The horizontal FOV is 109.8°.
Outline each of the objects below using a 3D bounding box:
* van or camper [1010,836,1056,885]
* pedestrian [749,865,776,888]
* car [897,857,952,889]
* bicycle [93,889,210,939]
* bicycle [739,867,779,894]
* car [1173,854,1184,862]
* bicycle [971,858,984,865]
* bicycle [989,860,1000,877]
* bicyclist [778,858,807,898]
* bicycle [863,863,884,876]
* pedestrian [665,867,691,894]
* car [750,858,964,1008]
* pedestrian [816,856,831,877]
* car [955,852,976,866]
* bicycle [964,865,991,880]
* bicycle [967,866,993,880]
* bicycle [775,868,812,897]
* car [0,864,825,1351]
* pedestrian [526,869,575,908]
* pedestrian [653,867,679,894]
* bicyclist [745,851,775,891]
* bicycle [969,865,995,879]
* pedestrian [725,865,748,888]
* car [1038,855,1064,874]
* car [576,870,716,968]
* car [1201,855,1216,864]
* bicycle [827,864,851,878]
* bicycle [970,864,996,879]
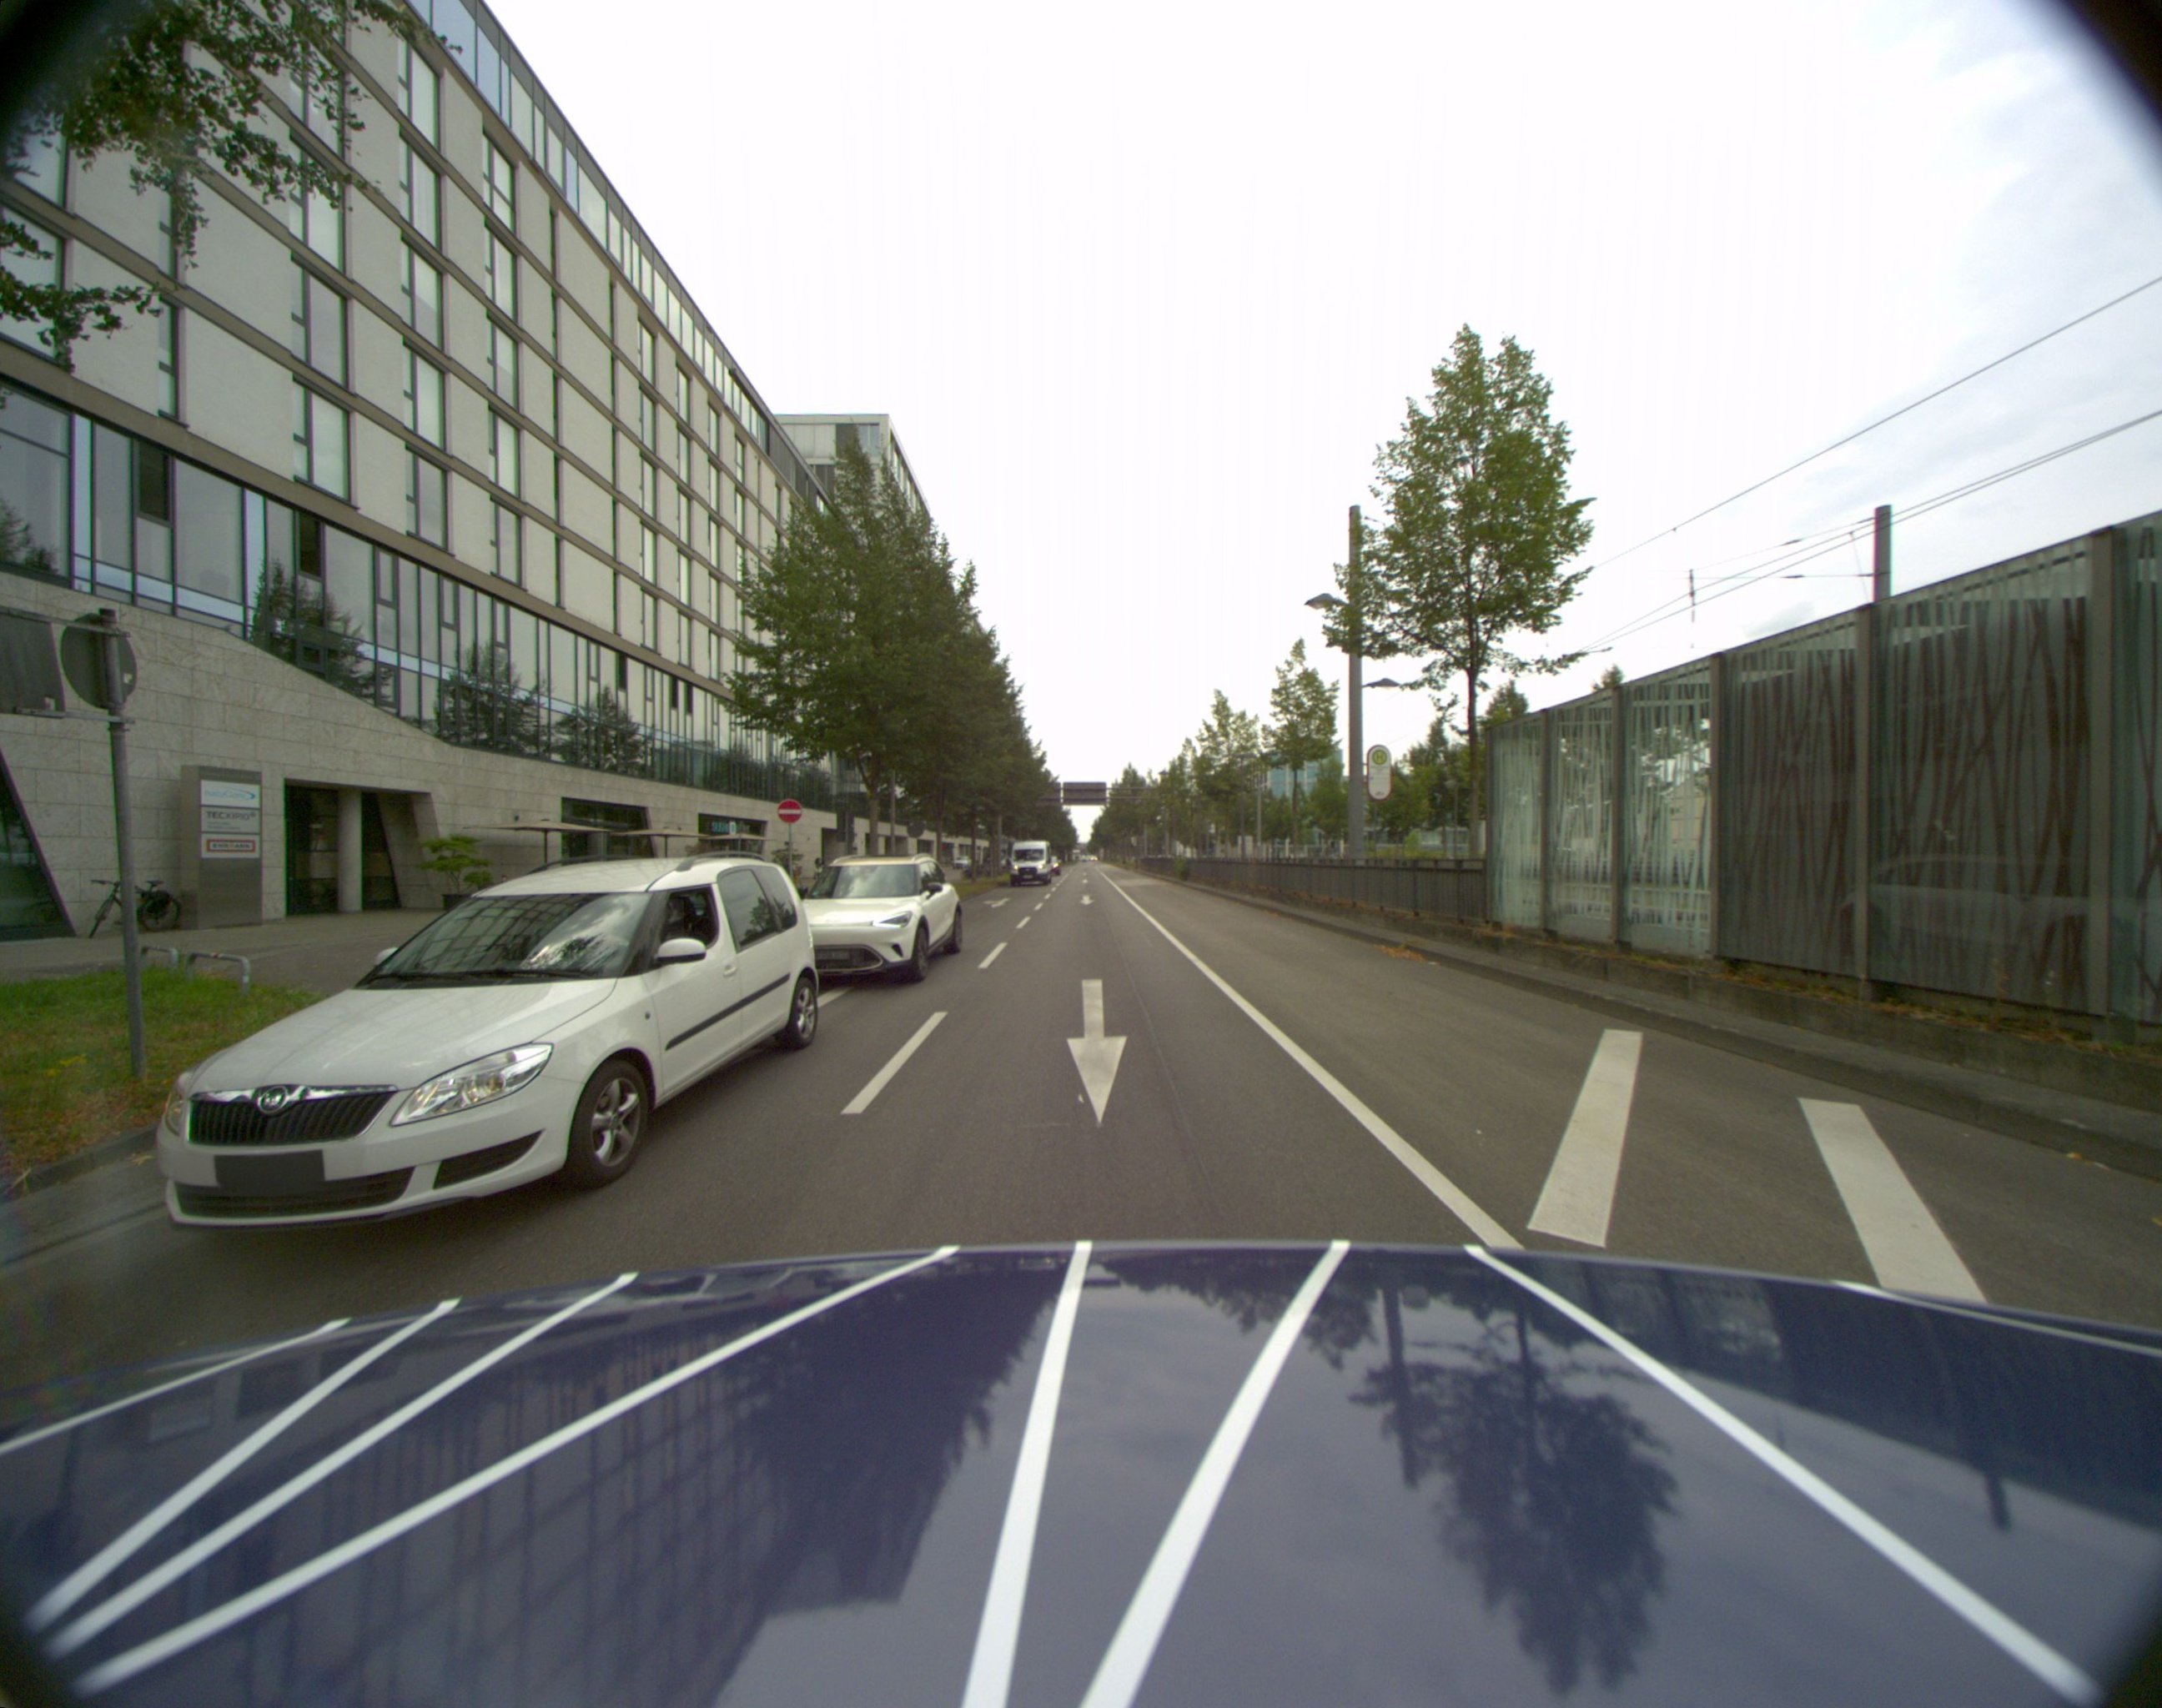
[{"bbox_3d":[-2.620,0.353,42.971,2.184,2.493,6.339,-2,0,0],"label":"van or camper"},{"bbox_3d":[-17.269,1.222,41.220,0.773,1.185,1.107,0,0,15],"label":"pedestrian"},{"bbox_3d":[-8.236,0.970,40.397,1.943,1.543,4.593,-1,0,0],"label":"car"},{"bbox_3d":[-18.788,1.188,15.408,0.519,0.905,1.493,0,0,1],"label":"bicycle"},{"bbox_3d":[-13.129,1.060,31.033,0.675,1.036,2.008,0,0,3],"label":"bicycle"},{"bbox_3d":[23.130,0.960,179.892,1.998,1.933,5.096,0,0,0],"label":"car"},{"bbox_3d":[-17.784,1.352,130.704,2.238,1.170,0.975,-1,0,-7],"label":"bicycle"},{"bbox_3d":[-6.167,1.041,54.010,0.712,1.109,2.202,-4,0,-7],"label":"bicycle"},{"bbox_3d":[-11.676,0.957,30.763,0.726,1.573,0.990,1,1,3],"label":"bicyclist"},{"bbox_3d":[-17.240,1.306,63.082,1.602,1.020,0.533,0,0,-3],"label":"bicycle"},{"bbox_3d":[-18.121,1.199,34.187,0.720,1.185,0.759,0,0,2],"label":"pedestrian"},{"bbox_3d":[-2.882,0.914,10.735,1.783,1.647,4.023,-2,0,0],"label":"car"},{"bbox_3d":[-17.655,0.856,52.071,0.758,1.398,0.721,0,0,8],"label":"pedestrian"},{"bbox_3d":[-14.322,0.591,94.641,1.862,1.579,4.240,2,0,0],"label":"car"},{"bbox_3d":[-7.718,1.371,56.768,1.865,0.989,0.574,-4,0,-3],"label":"bicycle"},{"bbox_3d":[-7.722,1.433,58.184,1.865,0.946,0.652,-4,0,-3],"label":"bicycle"},{"bbox_3d":[-11.667,1.131,30.920,0.675,1.136,2.008,0,-1,2],"label":"bicycle"},{"bbox_3d":[-3.173,0.913,4.651,1.783,1.647,4.023,0,0,1],"label":"car"},{"bbox_3d":[-17.103,1.092,24.521,0.899,1.221,0.950,0,0,5],"label":"pedestrian"},{"bbox_3d":[-18.139,1.155,33.211,0.720,1.185,0.759,0,0,0],"label":"pedestrian"},{"bbox_3d":[-13.101,0.677,31.005,0.726,1.573,0.990,1,1,5],"label":"bicyclist"},{"bbox_3d":[-7.685,1.427,58.925,1.865,0.946,0.612,-4,0,-3],"label":"bicycle"},{"bbox_3d":[-17.959,1.187,39.621,0.719,1.185,0.760,0,0,22],"label":"pedestrian"},{"bbox_3d":[-2.478,0.848,63.258,1.973,1.528,4.139,0,0,1],"label":"car"},{"bbox_3d":[-8.540,1.095,14.689,1.951,1.467,4.858,-1,0,-34],"label":"car"},{"bbox_3d":[23.997,0.968,143.068,1.832,1.646,4.691,0,0,-2],"label":"car"},{"bbox_3d":[-17.803,1.250,55.991,1.605,1.020,0.609,0,0,-27],"label":"bicycle"},{"bbox_3d":[-7.672,1.371,59.617,1.935,1.059,0.705,-4,0,-3],"label":"bicycle"}]
